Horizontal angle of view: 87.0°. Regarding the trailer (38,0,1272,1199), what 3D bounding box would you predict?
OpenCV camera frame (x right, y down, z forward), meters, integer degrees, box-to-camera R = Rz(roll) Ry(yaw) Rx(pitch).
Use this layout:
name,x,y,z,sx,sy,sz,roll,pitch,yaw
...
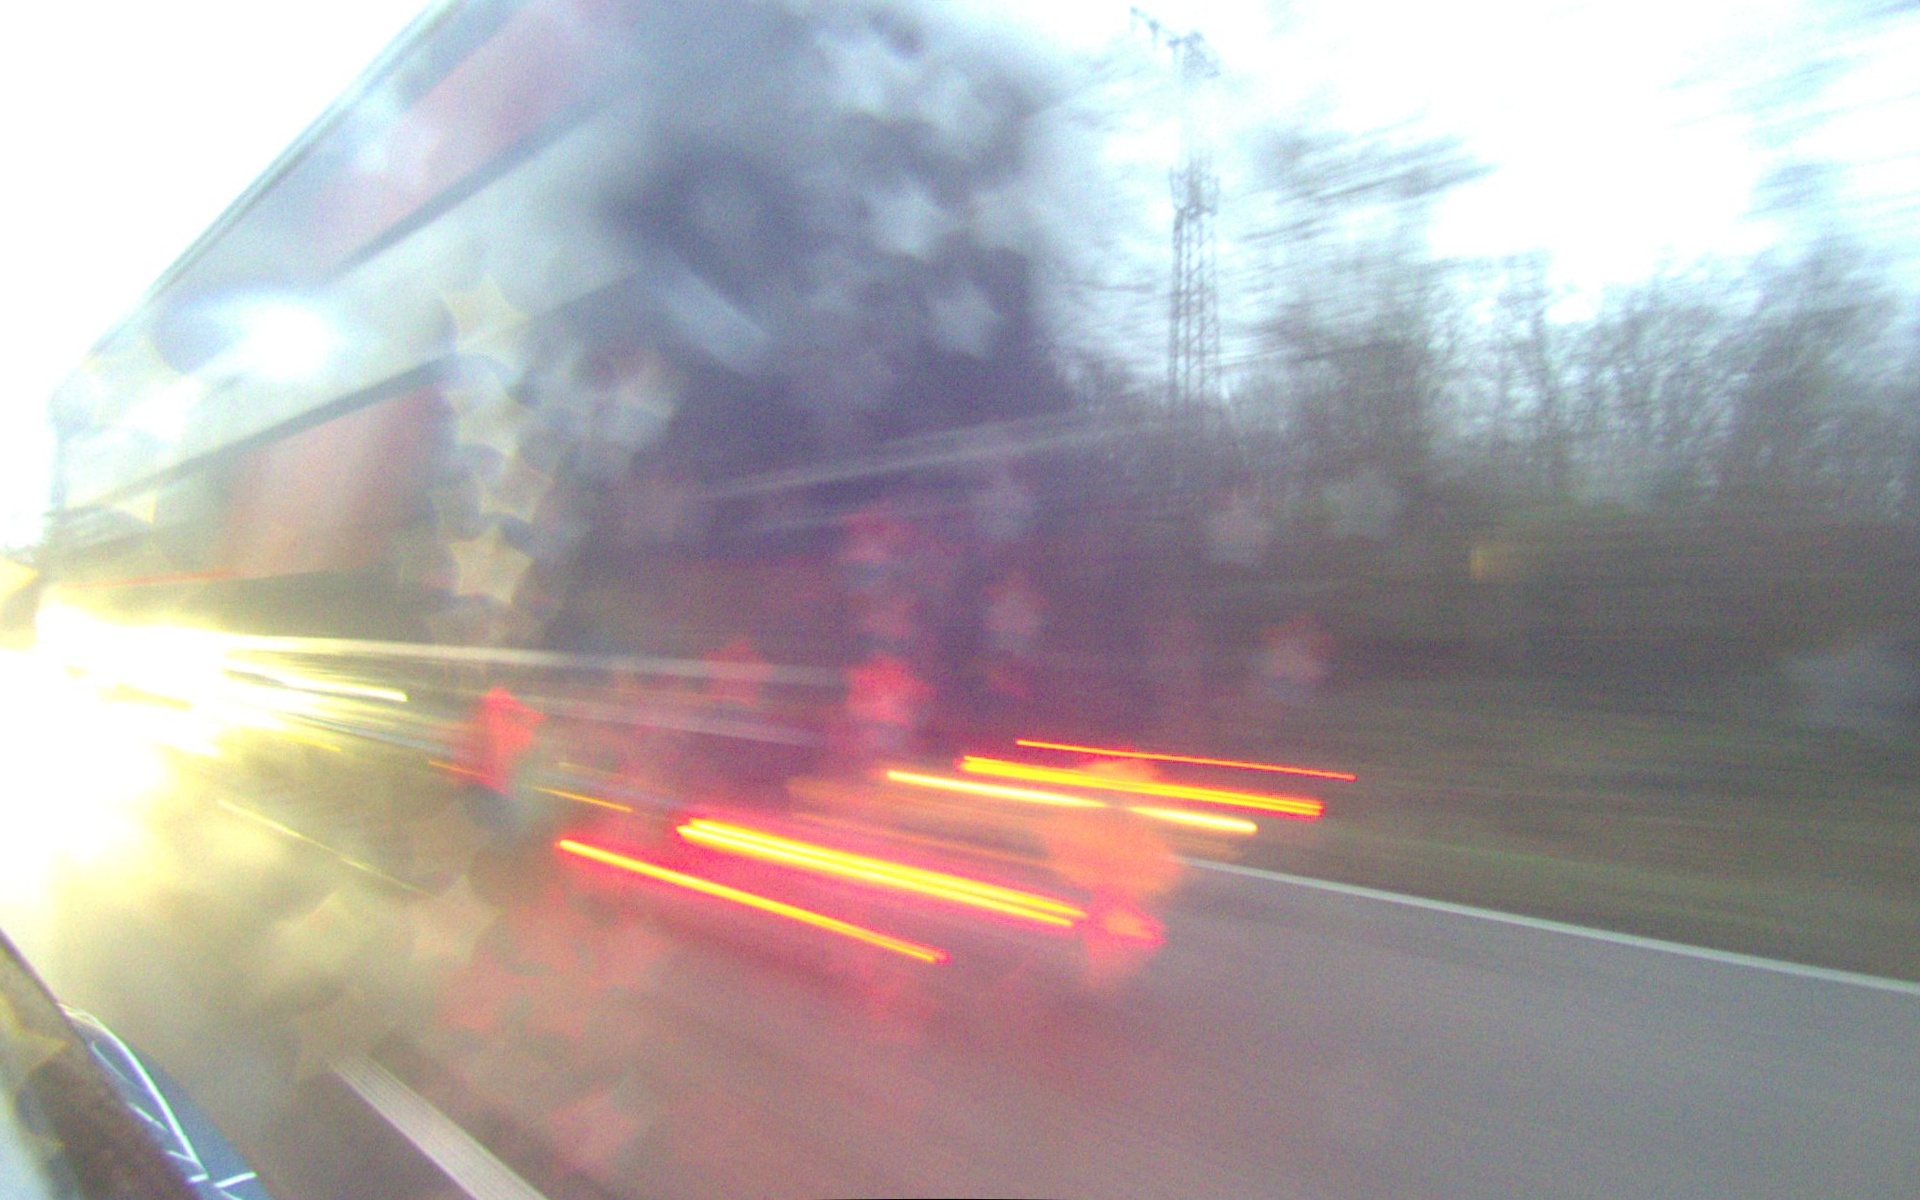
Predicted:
name,x,y,z,sx,sy,sz,roll,pitch,yaw
trailer,-4.123,-0.595,7.458,12.237,4.491,2.643,-1,0,42

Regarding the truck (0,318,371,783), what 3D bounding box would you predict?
name,x,y,z,sx,sy,sz,roll,pitch,yaw
truck,-9.740,-0.448,12.511,5.552,4.449,2.614,-1,0,42
